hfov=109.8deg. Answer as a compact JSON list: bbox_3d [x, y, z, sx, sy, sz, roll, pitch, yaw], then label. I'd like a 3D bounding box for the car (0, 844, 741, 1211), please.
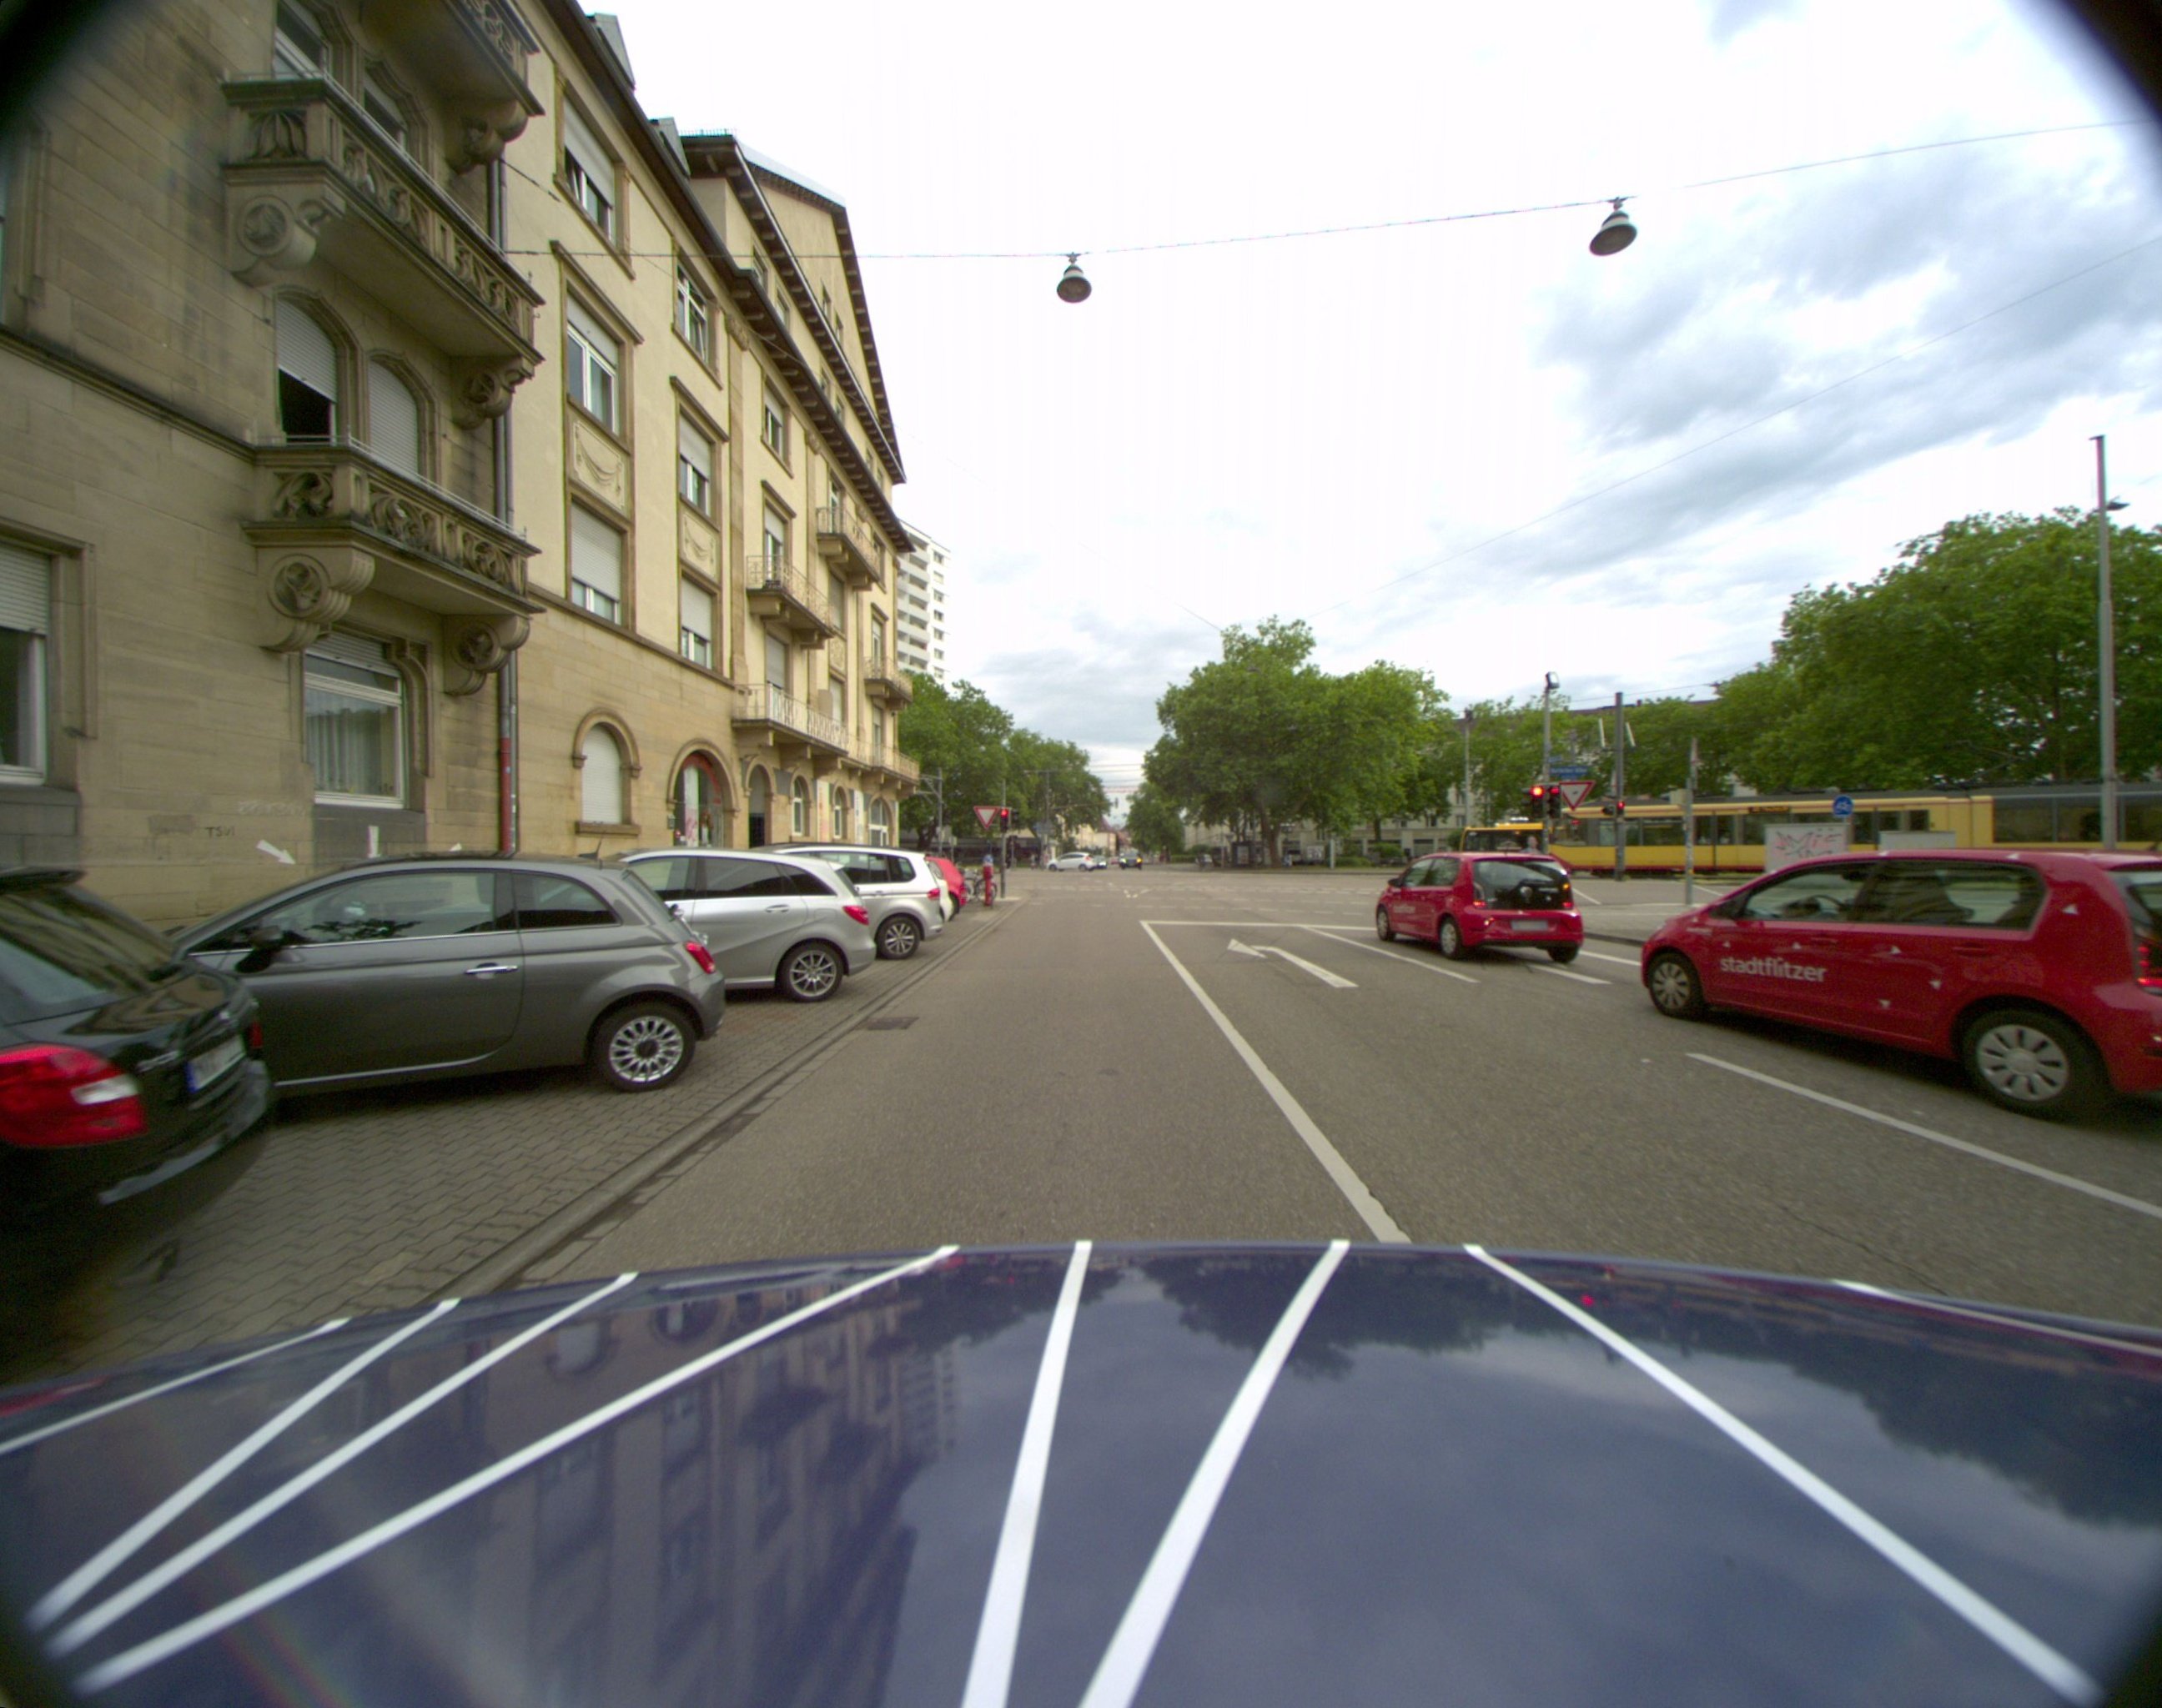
[{"bbox_3d":[-4.599,0.775,4.404,4.475,1.564,1.742,2,-1,-37],"label":"car"}]

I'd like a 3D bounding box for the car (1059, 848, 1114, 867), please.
[{"bbox_3d":[0.414,0.258,58.426,3.880,1.390,1.710,0,2,26],"label":"car"}]

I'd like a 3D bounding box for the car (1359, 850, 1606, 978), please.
[{"bbox_3d":[5.628,0.747,11.250,1.653,1.519,3.894,1,0,2],"label":"car"}]

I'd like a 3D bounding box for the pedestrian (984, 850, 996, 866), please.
[{"bbox_3d":[-8.480,0.393,70.909,0.851,1.500,0.555,0,2,24],"label":"pedestrian"}]

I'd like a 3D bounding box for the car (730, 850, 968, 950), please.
[{"bbox_3d":[-4.101,0.762,13.636,3.596,1.500,1.843,2,1,-40],"label":"car"}]

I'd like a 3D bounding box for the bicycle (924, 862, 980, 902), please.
[{"bbox_3d":[-3.907,0.847,23.047,1.571,1.121,0.476,2,2,0],"label":"bicycle"}]

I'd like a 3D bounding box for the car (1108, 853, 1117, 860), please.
[{"bbox_3d":[7.754,0.597,188.167,1.997,1.790,4.001,-1,2,6],"label":"car"}]

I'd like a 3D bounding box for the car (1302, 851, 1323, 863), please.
[{"bbox_3d":[29.218,0.389,96.033,1.997,1.381,4.836,-1,0,9],"label":"car"}]

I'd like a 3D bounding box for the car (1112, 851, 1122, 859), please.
[{"bbox_3d":[10.377,0.345,216.985,1.996,2.002,4.004,-1,2,17],"label":"car"}]

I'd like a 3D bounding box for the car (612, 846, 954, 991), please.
[{"bbox_3d":[-4.180,0.764,10.843,4.232,1.673,1.911,1,1,-33],"label":"car"}]

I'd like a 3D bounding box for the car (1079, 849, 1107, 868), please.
[{"bbox_3d":[1.221,0.457,74.806,1.660,1.708,3.746,-1,-2,20],"label":"car"}]

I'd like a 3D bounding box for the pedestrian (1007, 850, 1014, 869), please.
[{"bbox_3d":[-6.242,0.470,67.226,0.524,1.603,0.526,-1,2,-6],"label":"pedestrian"}]

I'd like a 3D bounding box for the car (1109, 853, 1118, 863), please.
[{"bbox_3d":[7.201,0.808,169.357,1.998,2.002,4.000,-1,2,3],"label":"car"}]

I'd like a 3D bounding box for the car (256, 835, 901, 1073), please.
[{"bbox_3d":[-4.446,0.735,7.544,4.762,1.675,1.931,1,1,-35],"label":"car"}]

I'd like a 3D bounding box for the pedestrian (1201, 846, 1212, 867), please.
[{"bbox_3d":[11.397,0.254,69.014,0.690,1.876,0.687,-3,3,-36],"label":"pedestrian"}]

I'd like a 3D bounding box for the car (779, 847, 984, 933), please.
[{"bbox_3d":[-4.217,0.745,16.412,3.843,1.552,1.789,3,1,-45],"label":"car"}]

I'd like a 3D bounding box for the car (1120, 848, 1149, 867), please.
[{"bbox_3d":[5.280,0.392,74.245,1.908,1.708,3.746,-1,-2,20],"label":"car"}]

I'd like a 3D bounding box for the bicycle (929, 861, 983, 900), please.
[{"bbox_3d":[-3.875,0.830,23.556,1.571,1.121,0.476,2,2,0],"label":"bicycle"}]

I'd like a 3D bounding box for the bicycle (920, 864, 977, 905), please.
[{"bbox_3d":[-3.918,0.891,22.541,1.571,1.121,0.476,2,2,0],"label":"bicycle"}]

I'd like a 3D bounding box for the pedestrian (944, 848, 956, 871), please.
[{"bbox_3d":[-10.119,0.445,58.801,0.626,1.740,0.657,0,2,28],"label":"pedestrian"}]

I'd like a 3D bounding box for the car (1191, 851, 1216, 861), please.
[{"bbox_3d":[18.353,0.321,113.887,1.804,1.477,3.992,-1,1,-24],"label":"car"}]

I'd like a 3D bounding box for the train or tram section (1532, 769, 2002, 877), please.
[{"bbox_3d":[28.843,-1.186,33.681,14.999,4.070,3.660,0,2,27],"label":"train or tram section"}]

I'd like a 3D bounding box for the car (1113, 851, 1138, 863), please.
[{"bbox_3d":[5.910,0.380,101.763,2.001,1.654,4.826,-1,0,-13],"label":"car"}]

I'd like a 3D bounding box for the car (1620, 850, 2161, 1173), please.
[{"bbox_3d":[5.804,0.735,5.163,1.606,1.448,3.717,1,1,0],"label":"car"}]

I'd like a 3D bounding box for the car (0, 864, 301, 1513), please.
[{"bbox_3d":[-4.760,0.812,1.354,4.474,1.543,1.847,0,0,-37],"label":"car"}]

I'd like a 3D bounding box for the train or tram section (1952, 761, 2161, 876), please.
[{"bbox_3d":[42.275,-1.322,26.728,14.999,4.070,3.587,0,2,27],"label":"train or tram section"}]

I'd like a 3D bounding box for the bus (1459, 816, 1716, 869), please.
[{"bbox_3d":[29.310,-0.604,45.067,12.348,2.840,3.297,0,2,26],"label":"bus"}]

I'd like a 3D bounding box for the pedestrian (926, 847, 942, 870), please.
[{"bbox_3d":[-11.156,0.346,57.788,0.876,1.686,0.744,0,2,26],"label":"pedestrian"}]
